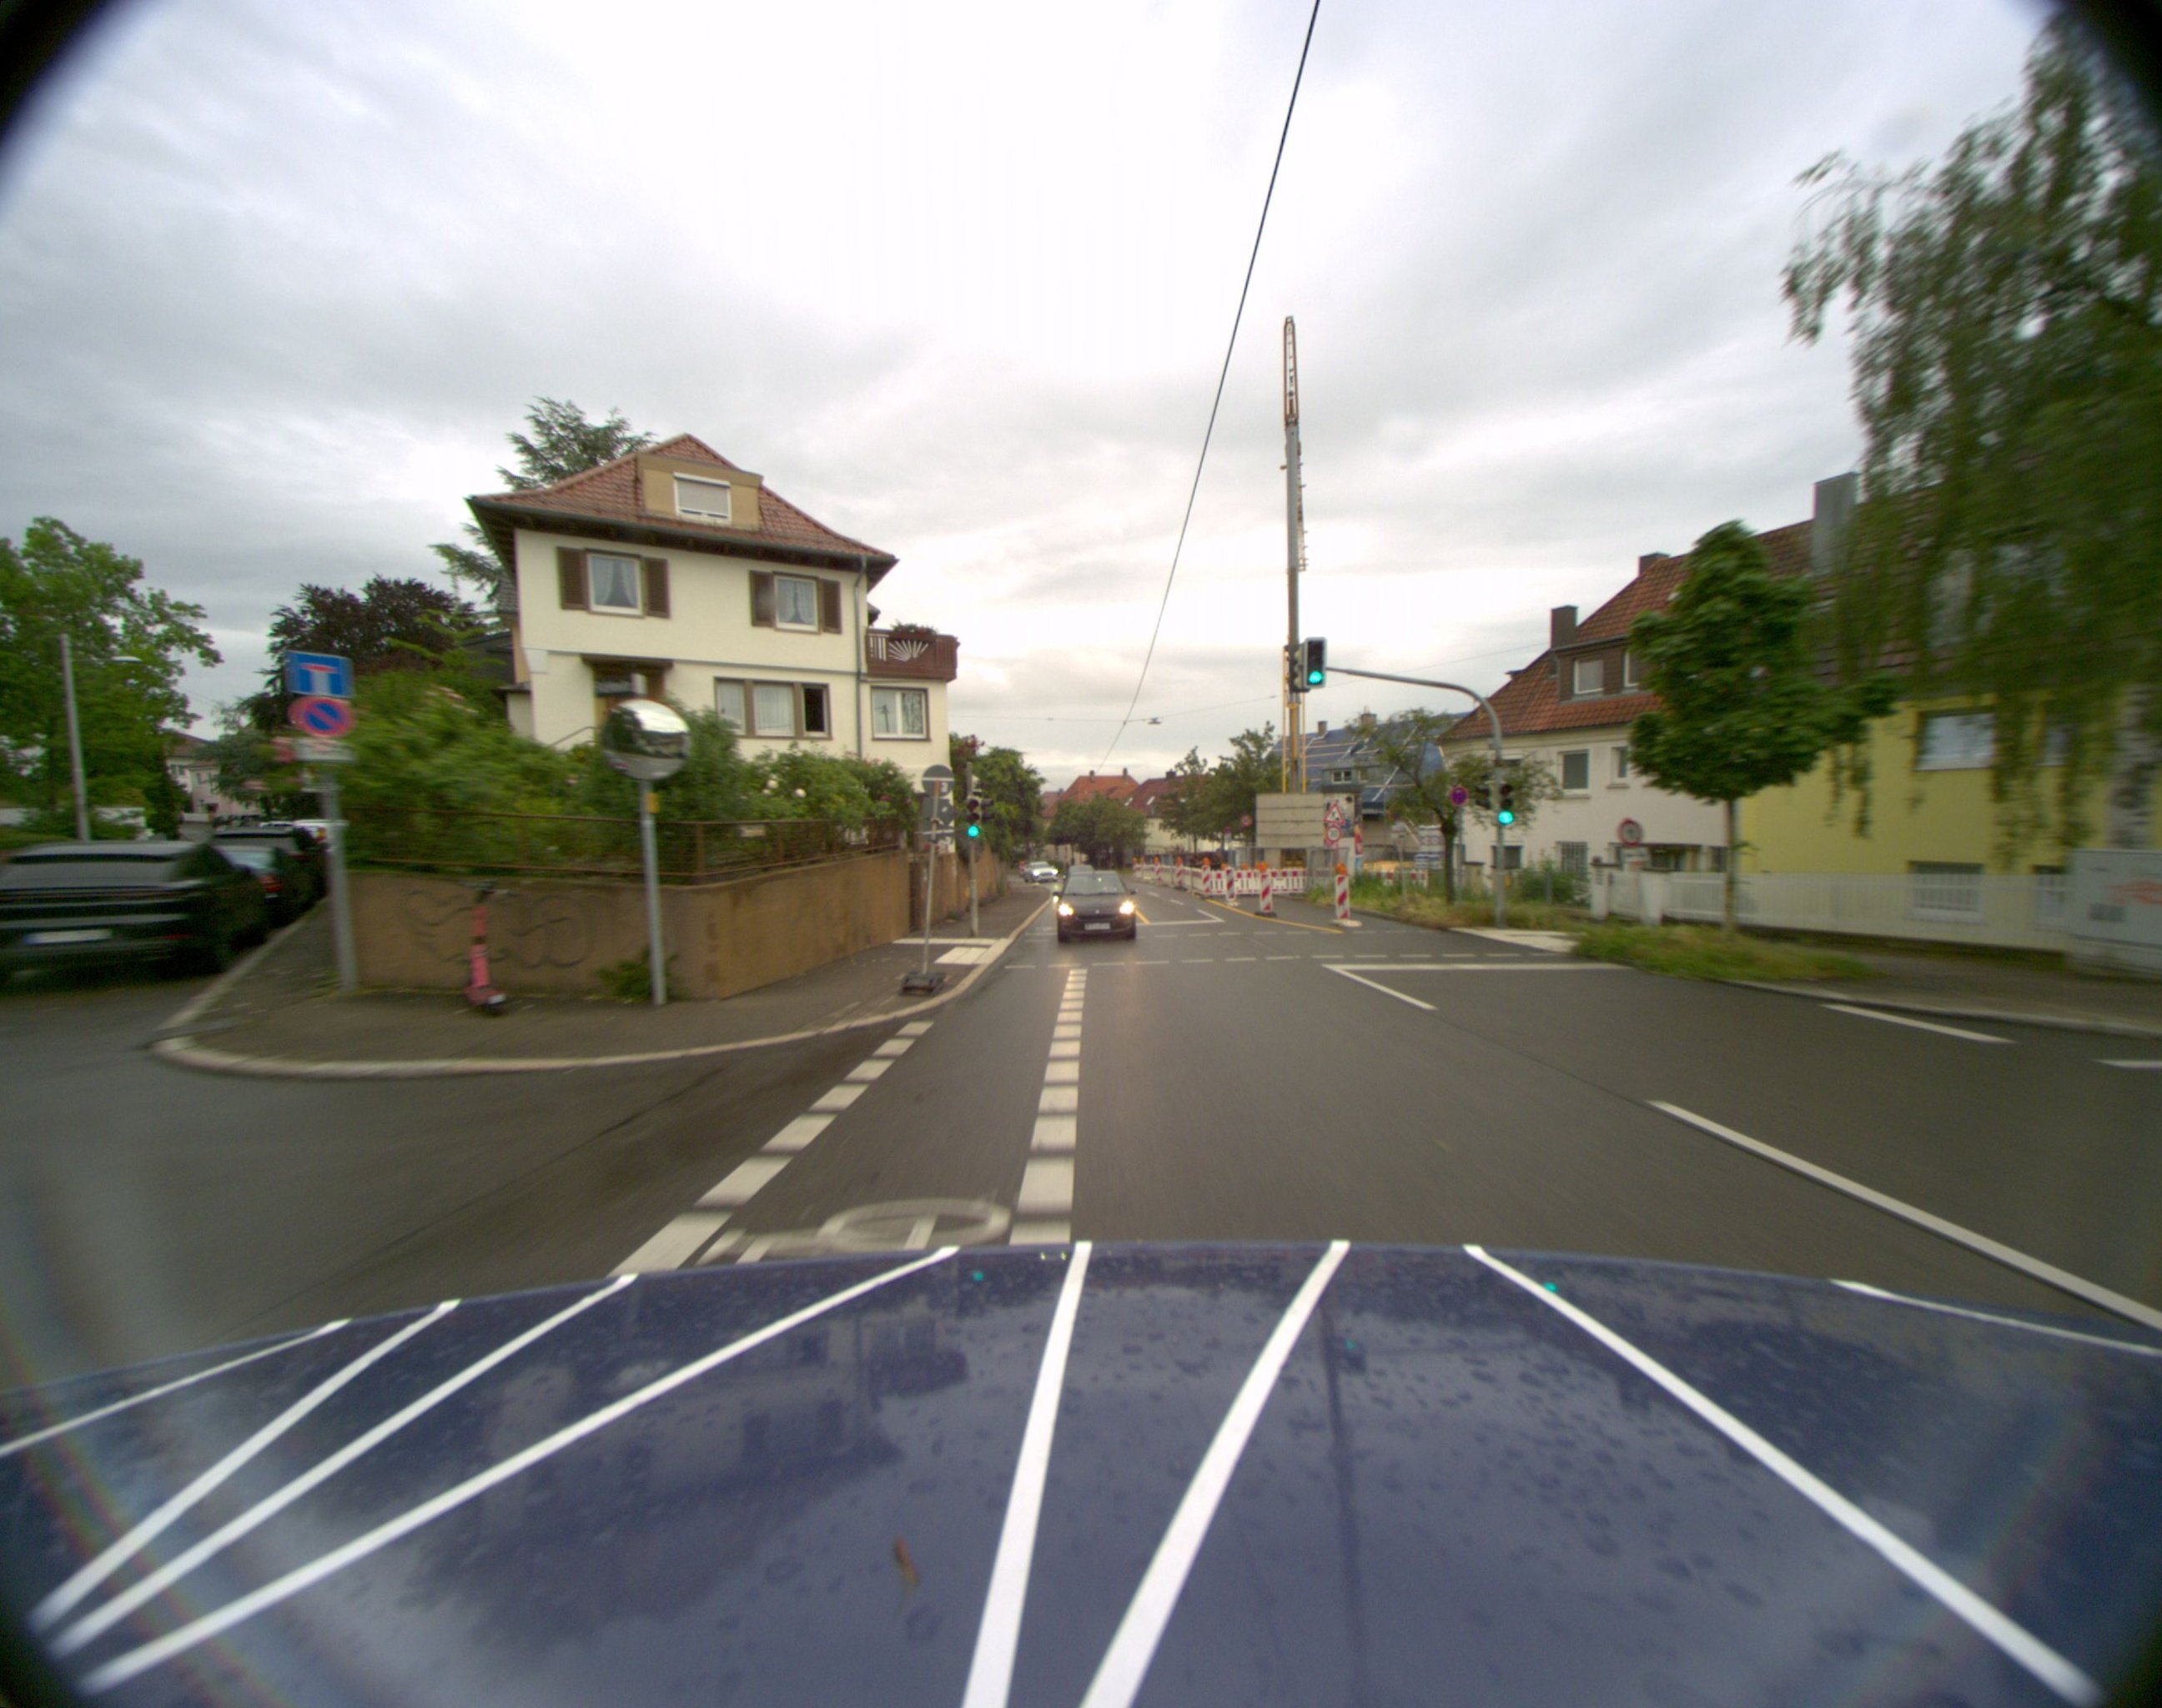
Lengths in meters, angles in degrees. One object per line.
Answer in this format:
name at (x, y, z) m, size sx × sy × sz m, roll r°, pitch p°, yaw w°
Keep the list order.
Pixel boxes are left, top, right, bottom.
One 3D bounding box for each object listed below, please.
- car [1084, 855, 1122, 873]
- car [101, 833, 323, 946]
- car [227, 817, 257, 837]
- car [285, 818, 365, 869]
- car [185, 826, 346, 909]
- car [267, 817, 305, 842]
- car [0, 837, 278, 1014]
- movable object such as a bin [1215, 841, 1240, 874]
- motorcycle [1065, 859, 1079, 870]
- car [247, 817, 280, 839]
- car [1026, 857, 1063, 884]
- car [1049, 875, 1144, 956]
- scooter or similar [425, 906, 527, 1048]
car at (2.569, 1.152, 88.848) m, size 3.956 × 1.534 × 1.860 m, roll -8°, pitch 3°, yaw -26°
car at (-15.885, 0.489, 14.192) m, size 1.879 × 1.634 × 4.357 m, roll -4°, pitch 5°, yaw -38°
car at (-82.752, -2.687, 74.951) m, size 3.722 × 1.667 × 1.747 m, roll 0°, pitch 8°, yaw 42°
car at (-29.945, -0.464, 30.215) m, size 1.879 × 1.831 × 4.357 m, roll -1°, pitch 3°, yaw -40°
car at (-19.481, 0.207, 18.389) m, size 1.878 × 1.659 × 4.357 m, roll -6°, pitch 6°, yaw -38°
car at (-68.938, -2.117, 65.937) m, size 3.989 × 1.719 × 2.003 m, roll -2°, pitch 5°, yaw 45°
car at (-12.478, 0.721, 9.967) m, size 2.004 × 1.674 × 4.356 m, roll -2°, pitch 5°, yaw -38°
movable object such as a bin at (11.517, 0.307, 59.844) m, size 1.318 × 2.491 × 1.384 m, roll -3°, pitch 1°, yaw -23°
motorcycle at (-1.162, 1.290, 93.384) m, size 0.735 × 1.241 × 1.965 m, roll -6°, pitch 1°, yaw -31°
car at (-73.830, -2.358, 68.629) m, size 3.722 × 1.667 × 1.747 m, roll 0°, pitch 8°, yaw 42°
car at (-3.040, 1.295, 61.552) m, size 2.020 × 1.729 × 4.592 m, roll -7°, pitch 3°, yaw -13°
car at (0.360, 1.209, 16.356) m, size 1.746 × 1.433 × 4.360 m, roll -1°, pitch -1°, yaw 2°
scooter or similar at (-5.926, 1.131, 7.413) m, size 0.654 × 1.051 × 1.554 m, roll 0°, pitch 3°, yaw -43°
